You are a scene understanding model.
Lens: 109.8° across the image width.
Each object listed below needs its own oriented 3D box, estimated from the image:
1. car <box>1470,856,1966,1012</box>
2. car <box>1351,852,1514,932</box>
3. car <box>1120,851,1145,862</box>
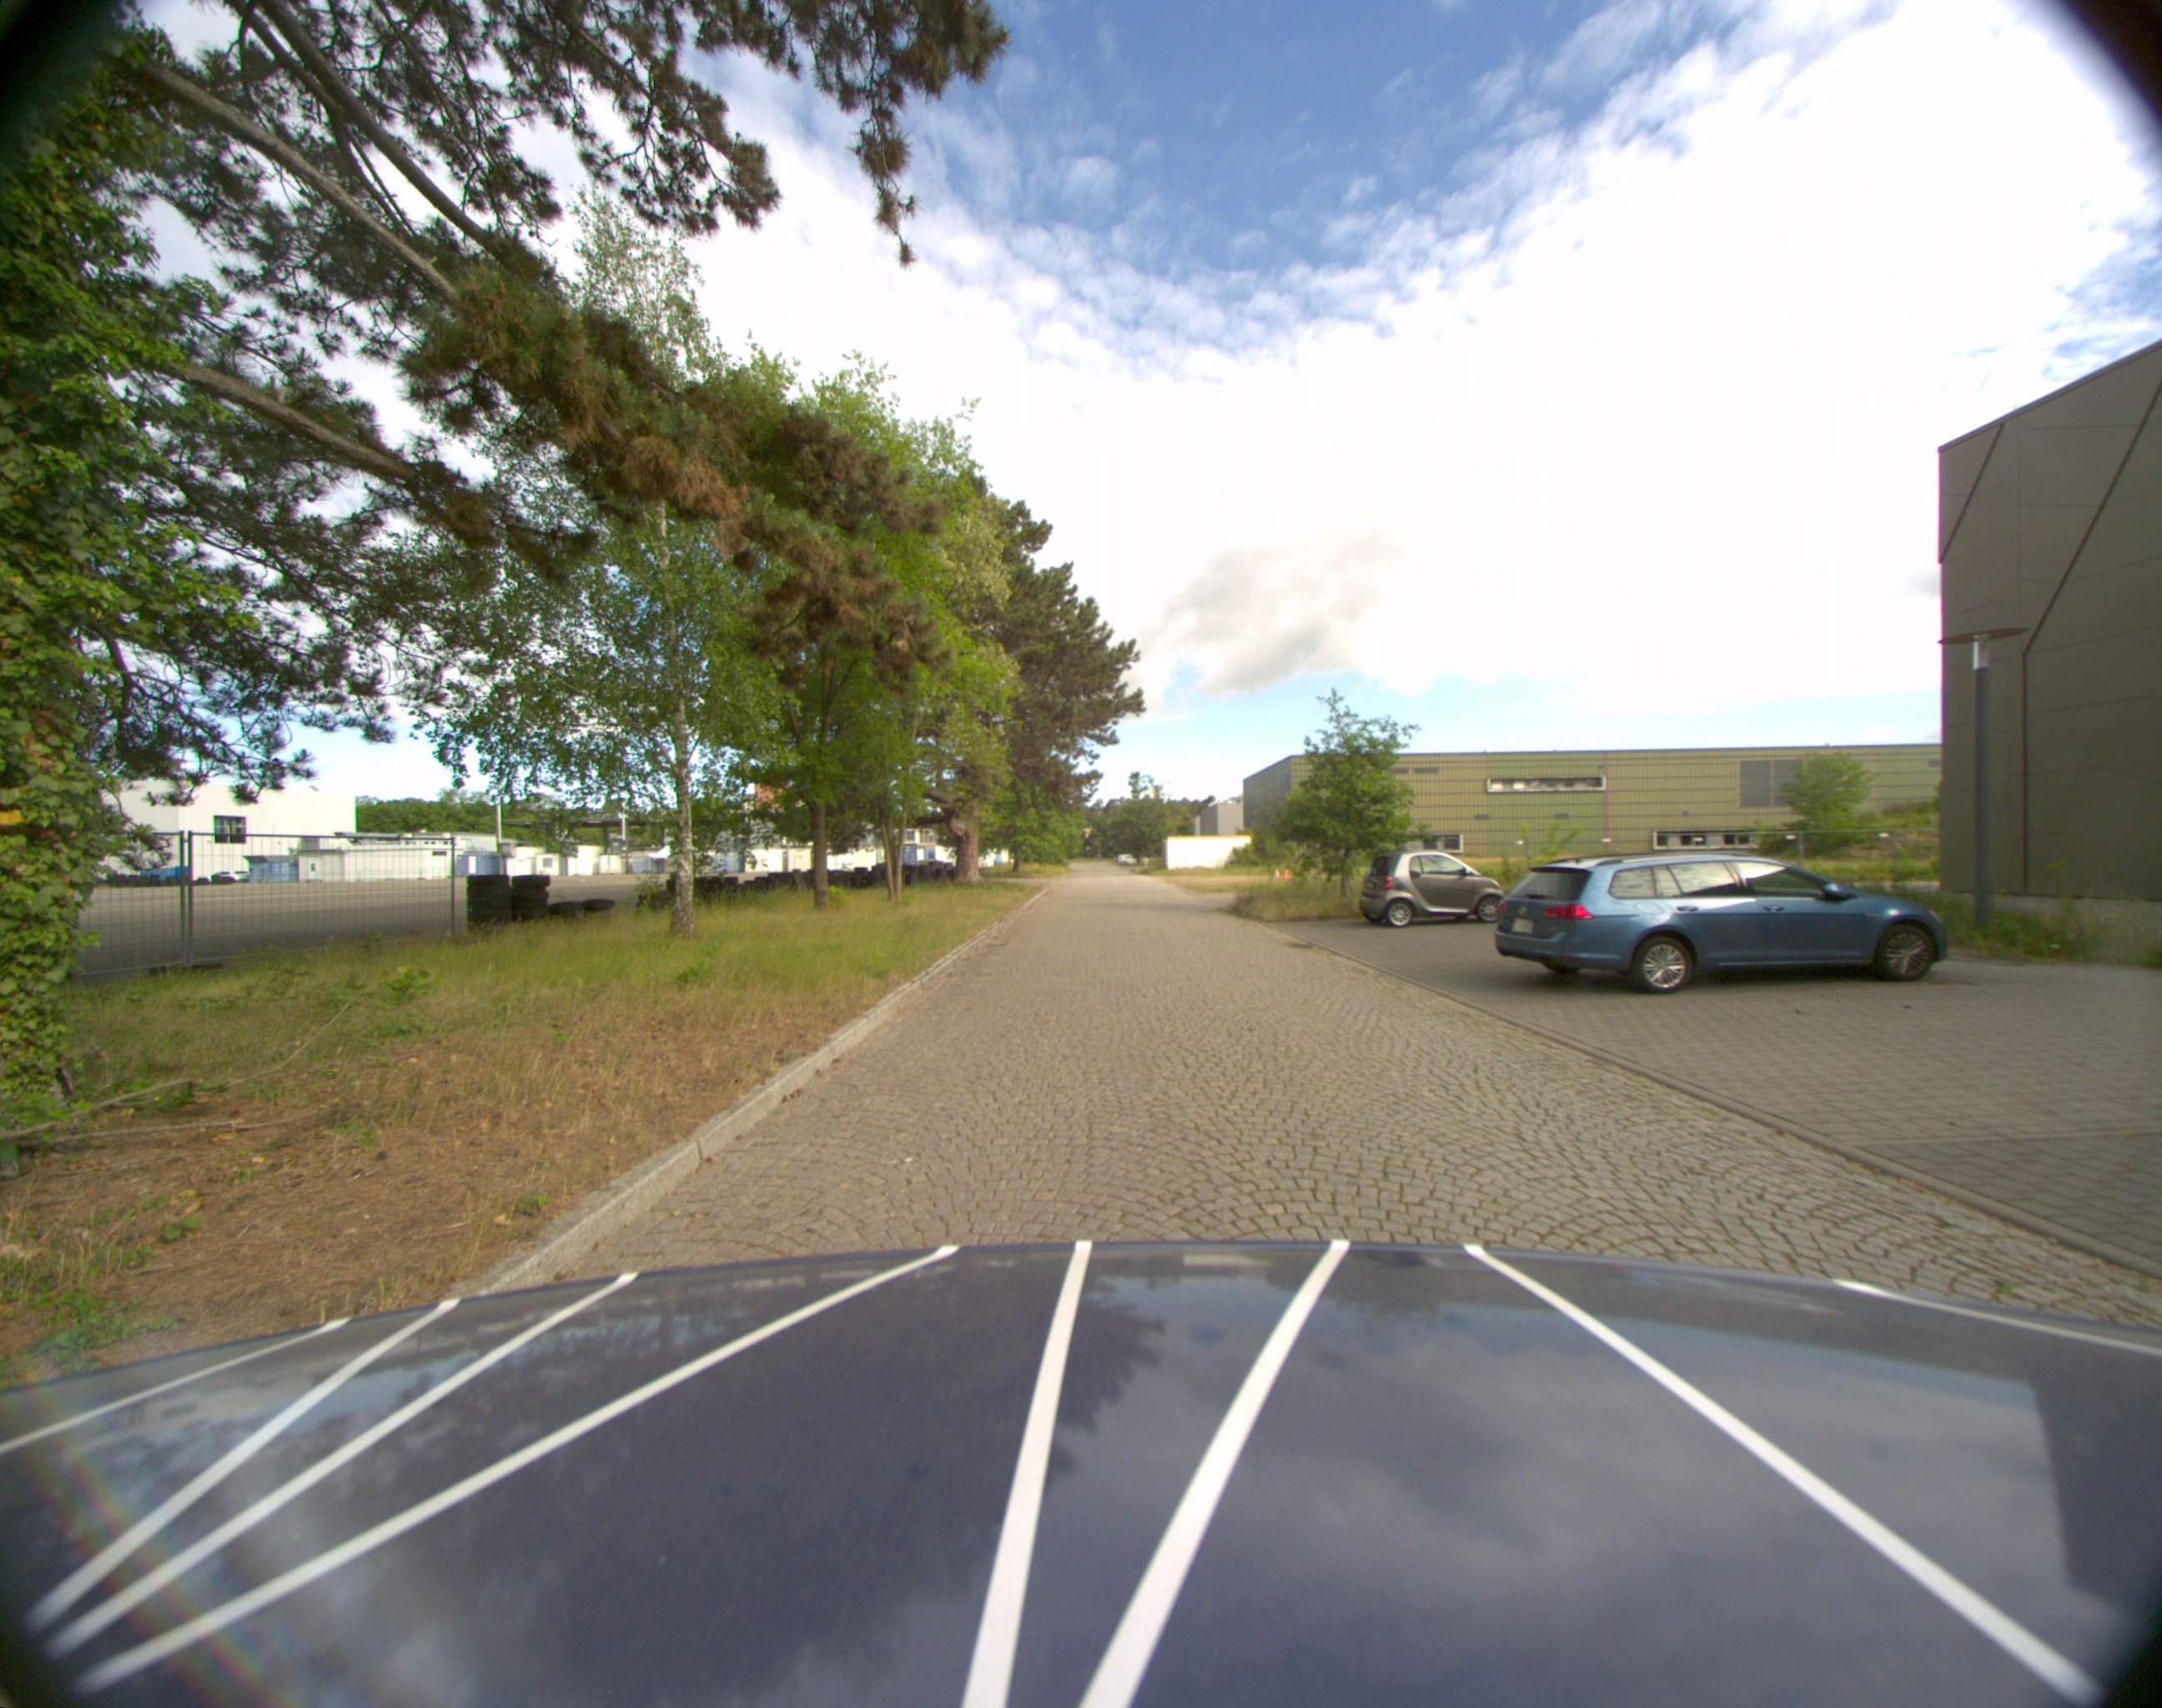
[{"bbox_3d":[7.125,0.827,8.803,4.317,1.420,1.773,-2,0,-2],"label":"car"},{"bbox_3d":[7.376,0.761,16.130,2.661,1.502,1.610,-2,0,0],"label":"car"},{"bbox_3d":[8.315,0.382,123.352,3.996,1.604,1.797,-1,0,4],"label":"car"}]
